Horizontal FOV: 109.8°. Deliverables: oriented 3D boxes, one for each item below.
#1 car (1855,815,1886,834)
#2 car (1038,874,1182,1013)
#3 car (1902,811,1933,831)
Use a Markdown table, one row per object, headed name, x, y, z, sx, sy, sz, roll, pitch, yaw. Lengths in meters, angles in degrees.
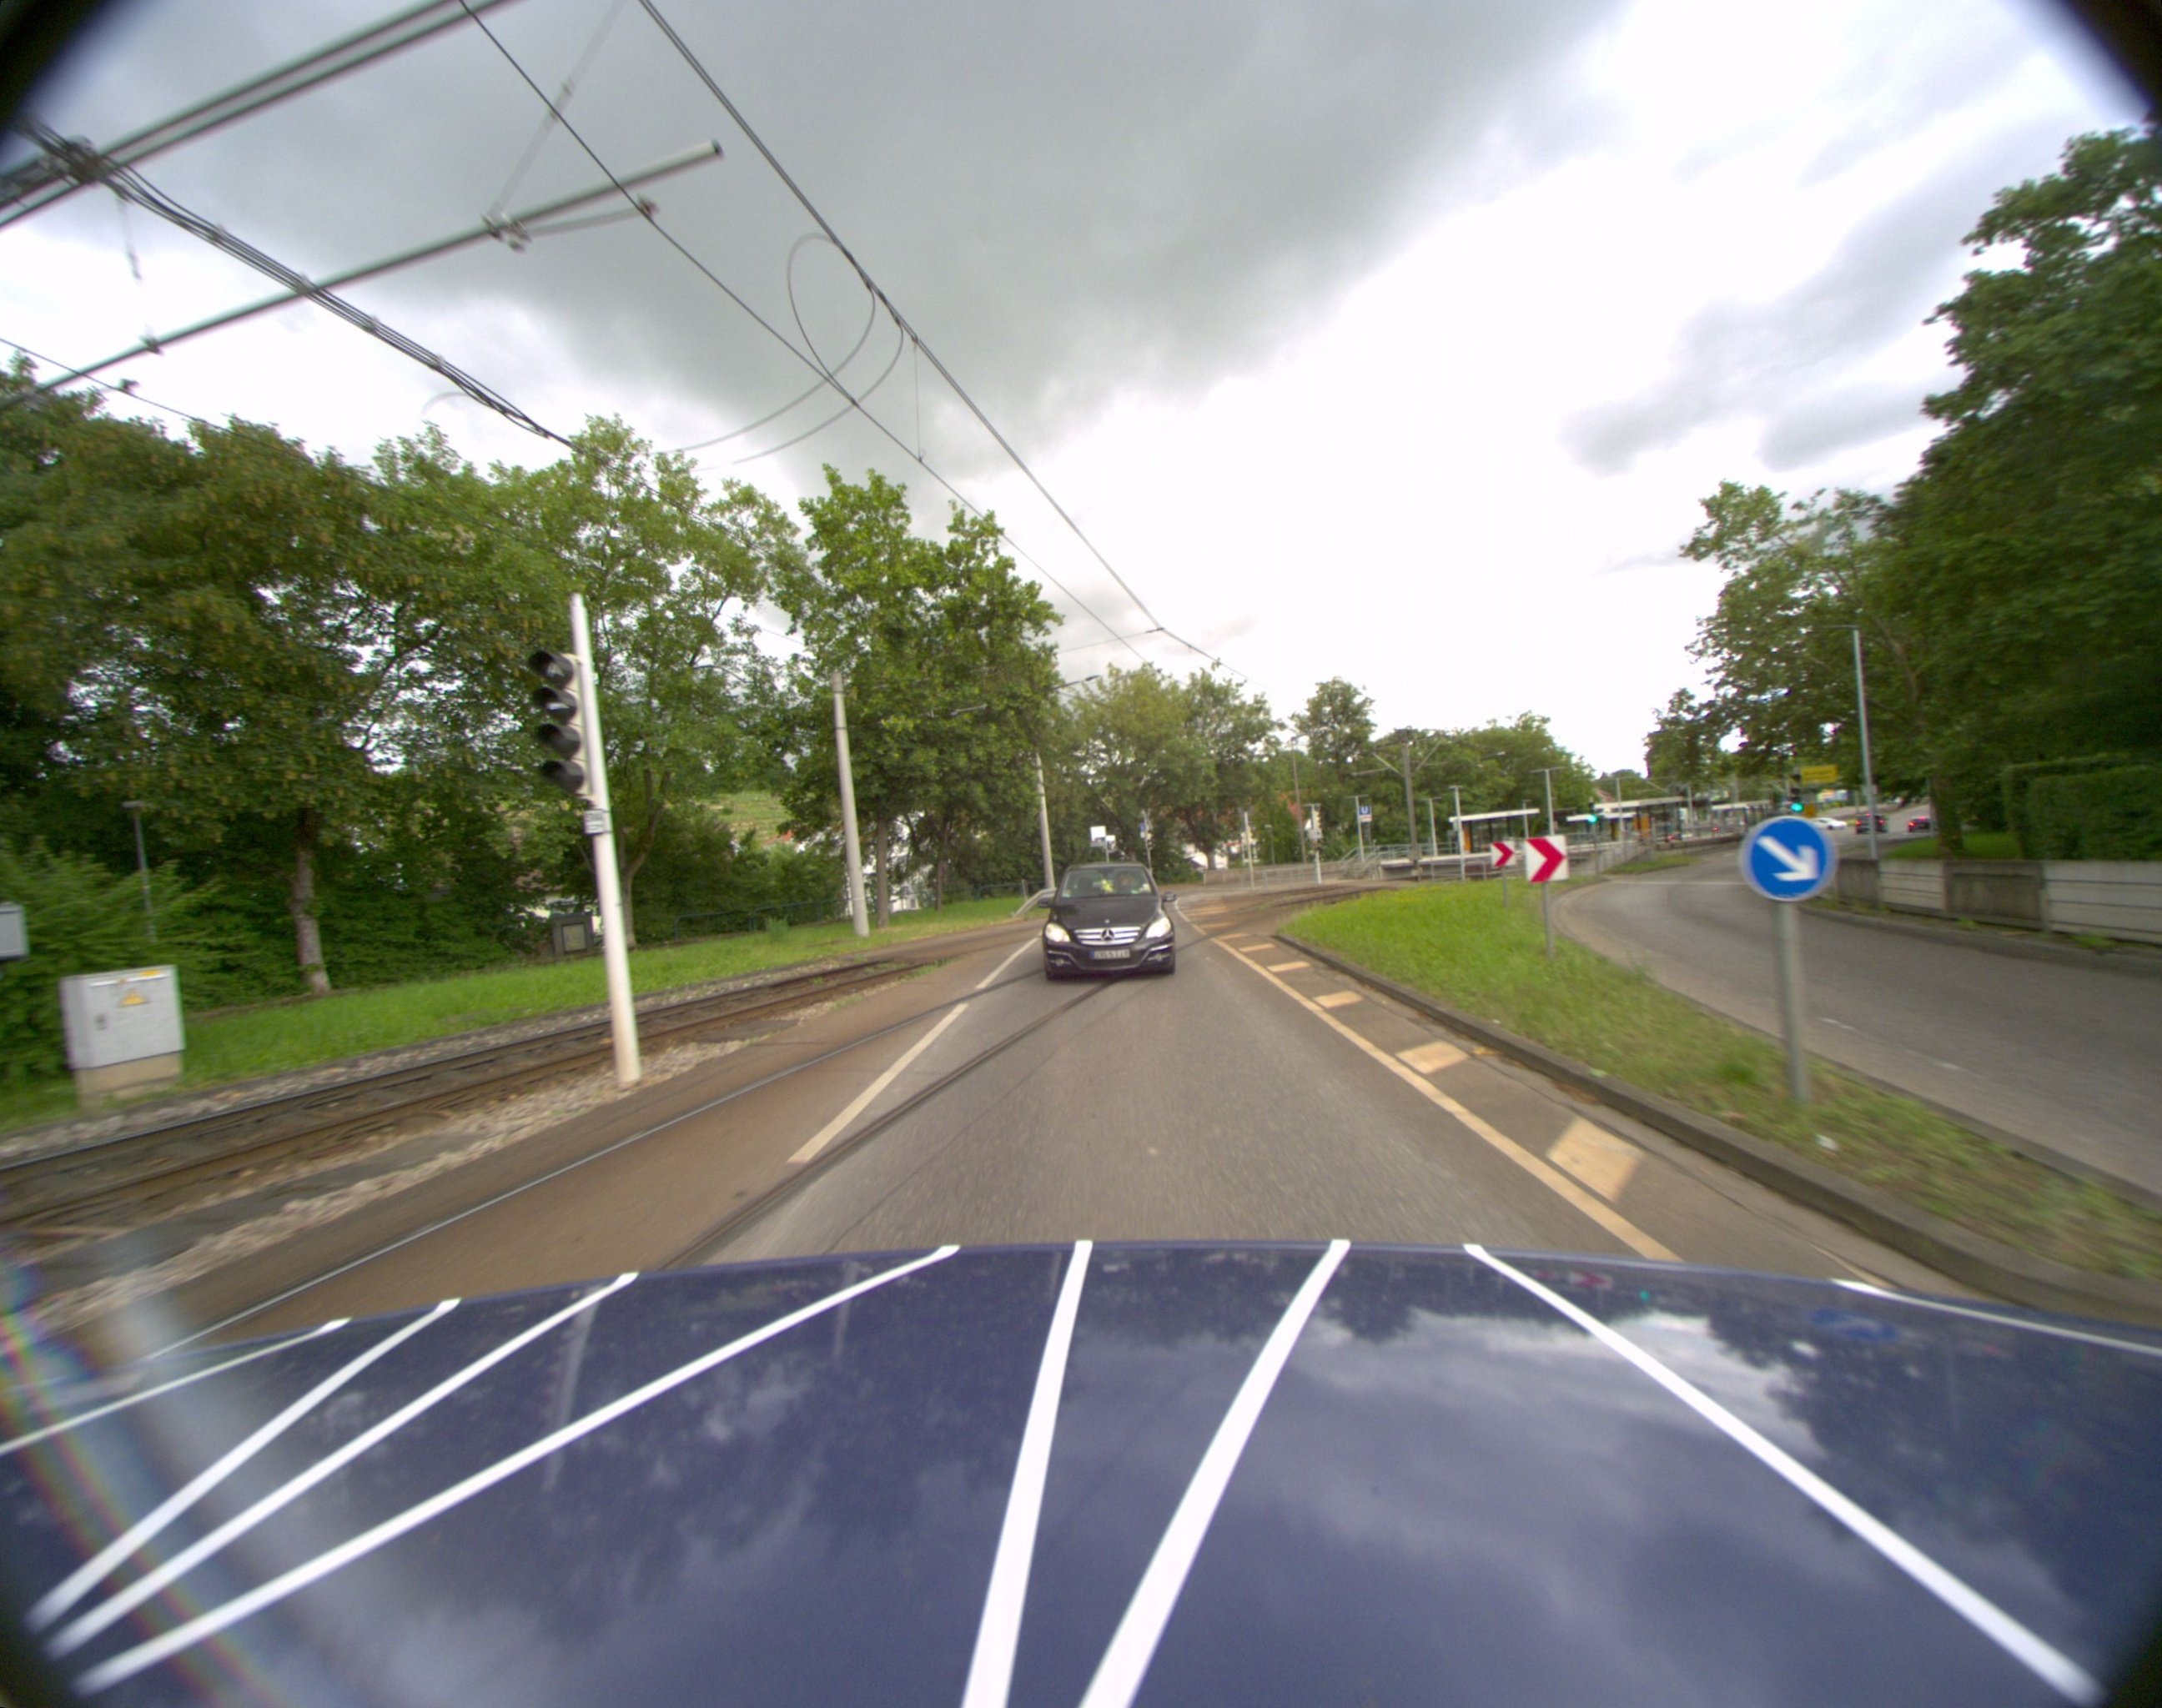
| name | x | y | z | sx | sy | sz | roll | pitch | yaw |
| --- | --- | --- | --- | --- | --- | --- | --- | --- | --- |
| car | 79.919 | -3.007 | 76.903 | 3.800 | 1.689 | 1.767 | -3 | 0 | -39 |
| car | 0.521 | 1.173 | 11.633 | 1.711 | 1.573 | 4.444 | -3 | -1 | 4 |
| car | 81.330 | -3.199 | 73.874 | 3.806 | 1.829 | 1.738 | -3 | 0 | -39 |
